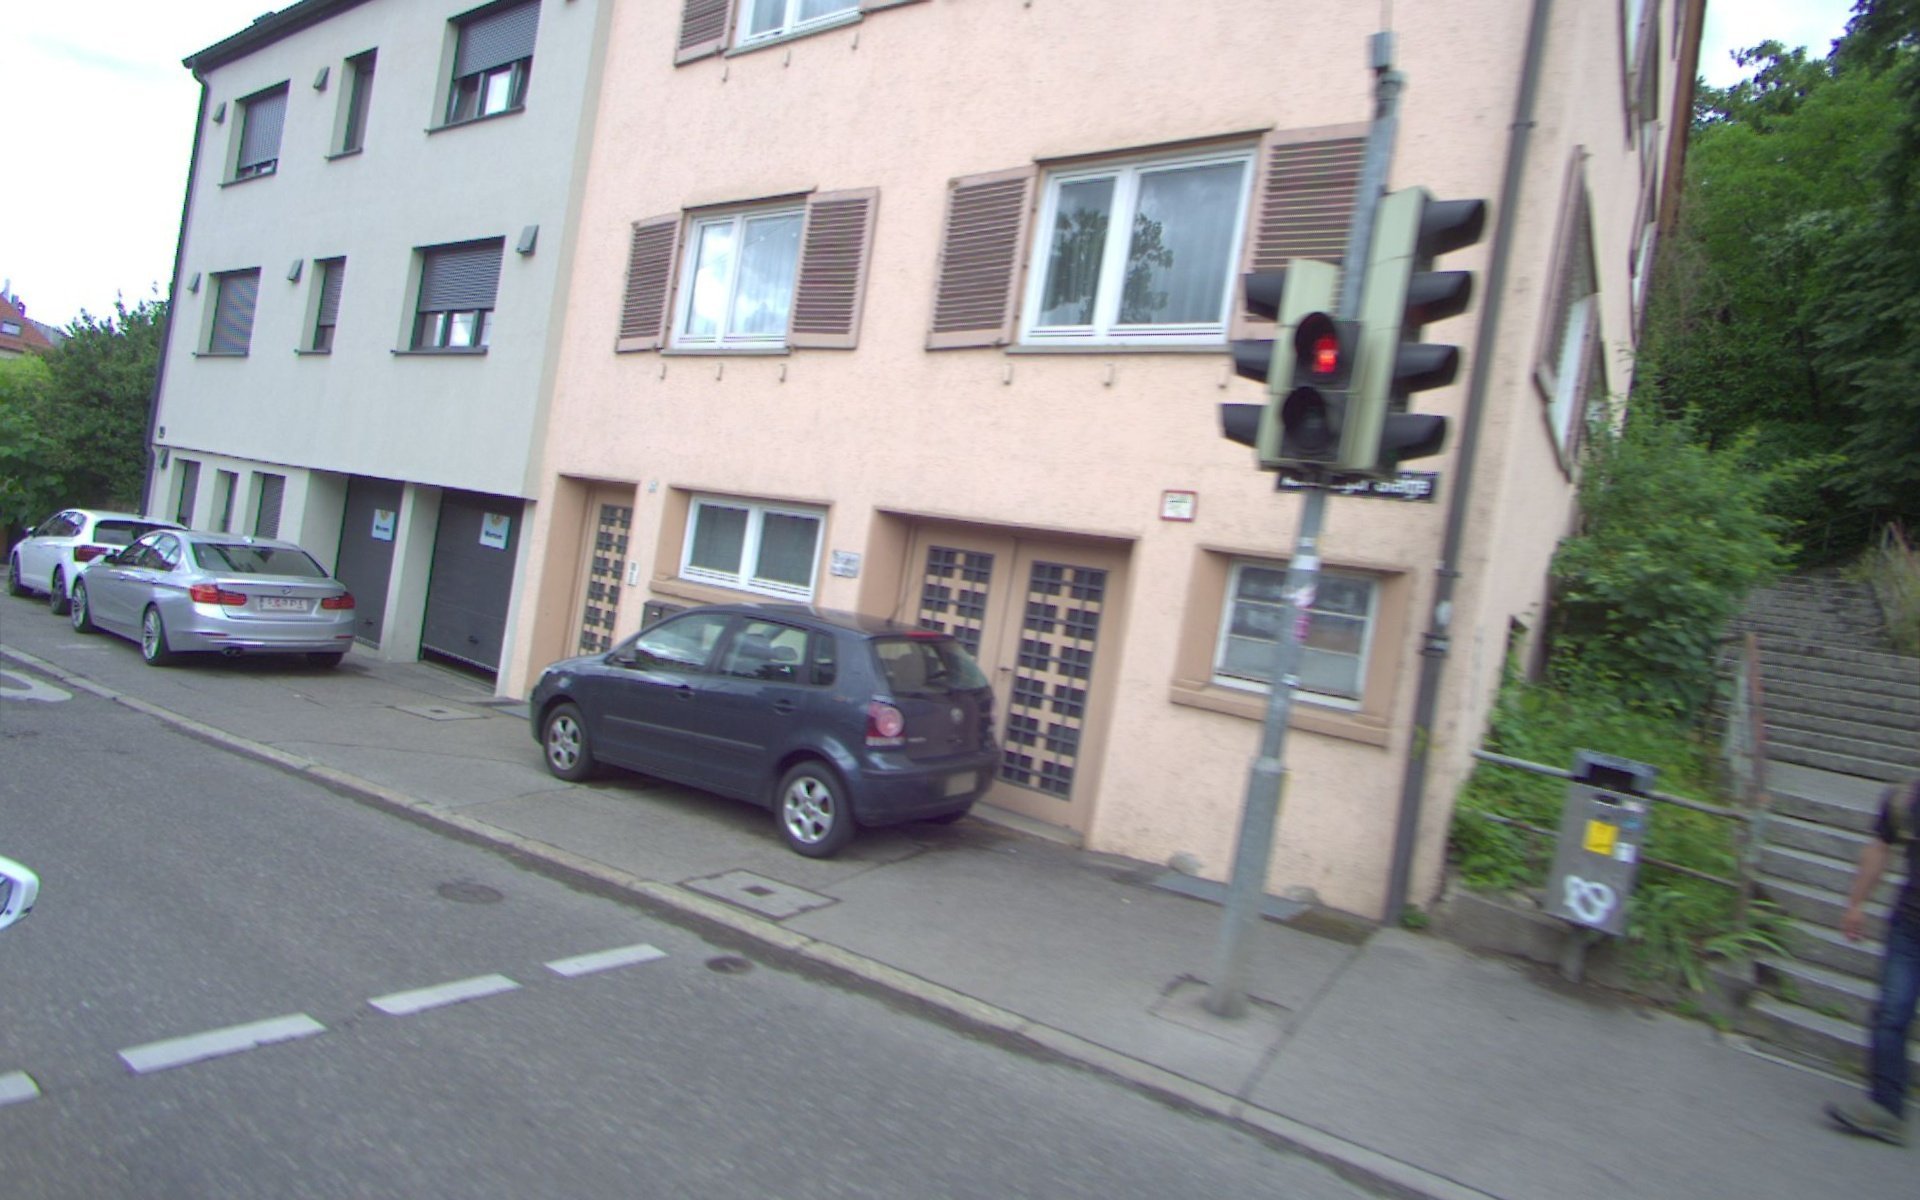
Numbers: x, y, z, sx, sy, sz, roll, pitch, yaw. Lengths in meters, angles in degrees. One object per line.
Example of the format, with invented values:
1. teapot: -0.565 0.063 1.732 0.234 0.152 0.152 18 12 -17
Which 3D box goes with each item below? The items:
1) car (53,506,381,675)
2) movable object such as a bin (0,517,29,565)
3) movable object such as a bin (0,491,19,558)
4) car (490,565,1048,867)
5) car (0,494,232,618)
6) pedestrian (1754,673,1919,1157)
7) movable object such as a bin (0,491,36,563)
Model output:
1. car: -8.985 -0.185 12.014 4.644 1.470 1.793 7 3 36
2. movable object such as a bin: -20.207 -1.263 21.247 0.630 0.953 0.595 6 -1 33
3. movable object such as a bin: -22.132 -1.777 22.595 1.185 1.462 1.049 6 -1 30
4. car: -1.531 0.650 7.493 3.935 1.470 1.681 6 2 33
5. car: -12.778 -0.682 15.111 3.943 1.441 1.794 6 0 36
6. pedestrian: 3.924 1.211 3.954 0.881 1.719 0.864 3 4 -35
7. movable object such as a bin: -20.996 -1.634 21.816 1.186 1.462 1.048 6 -1 33
